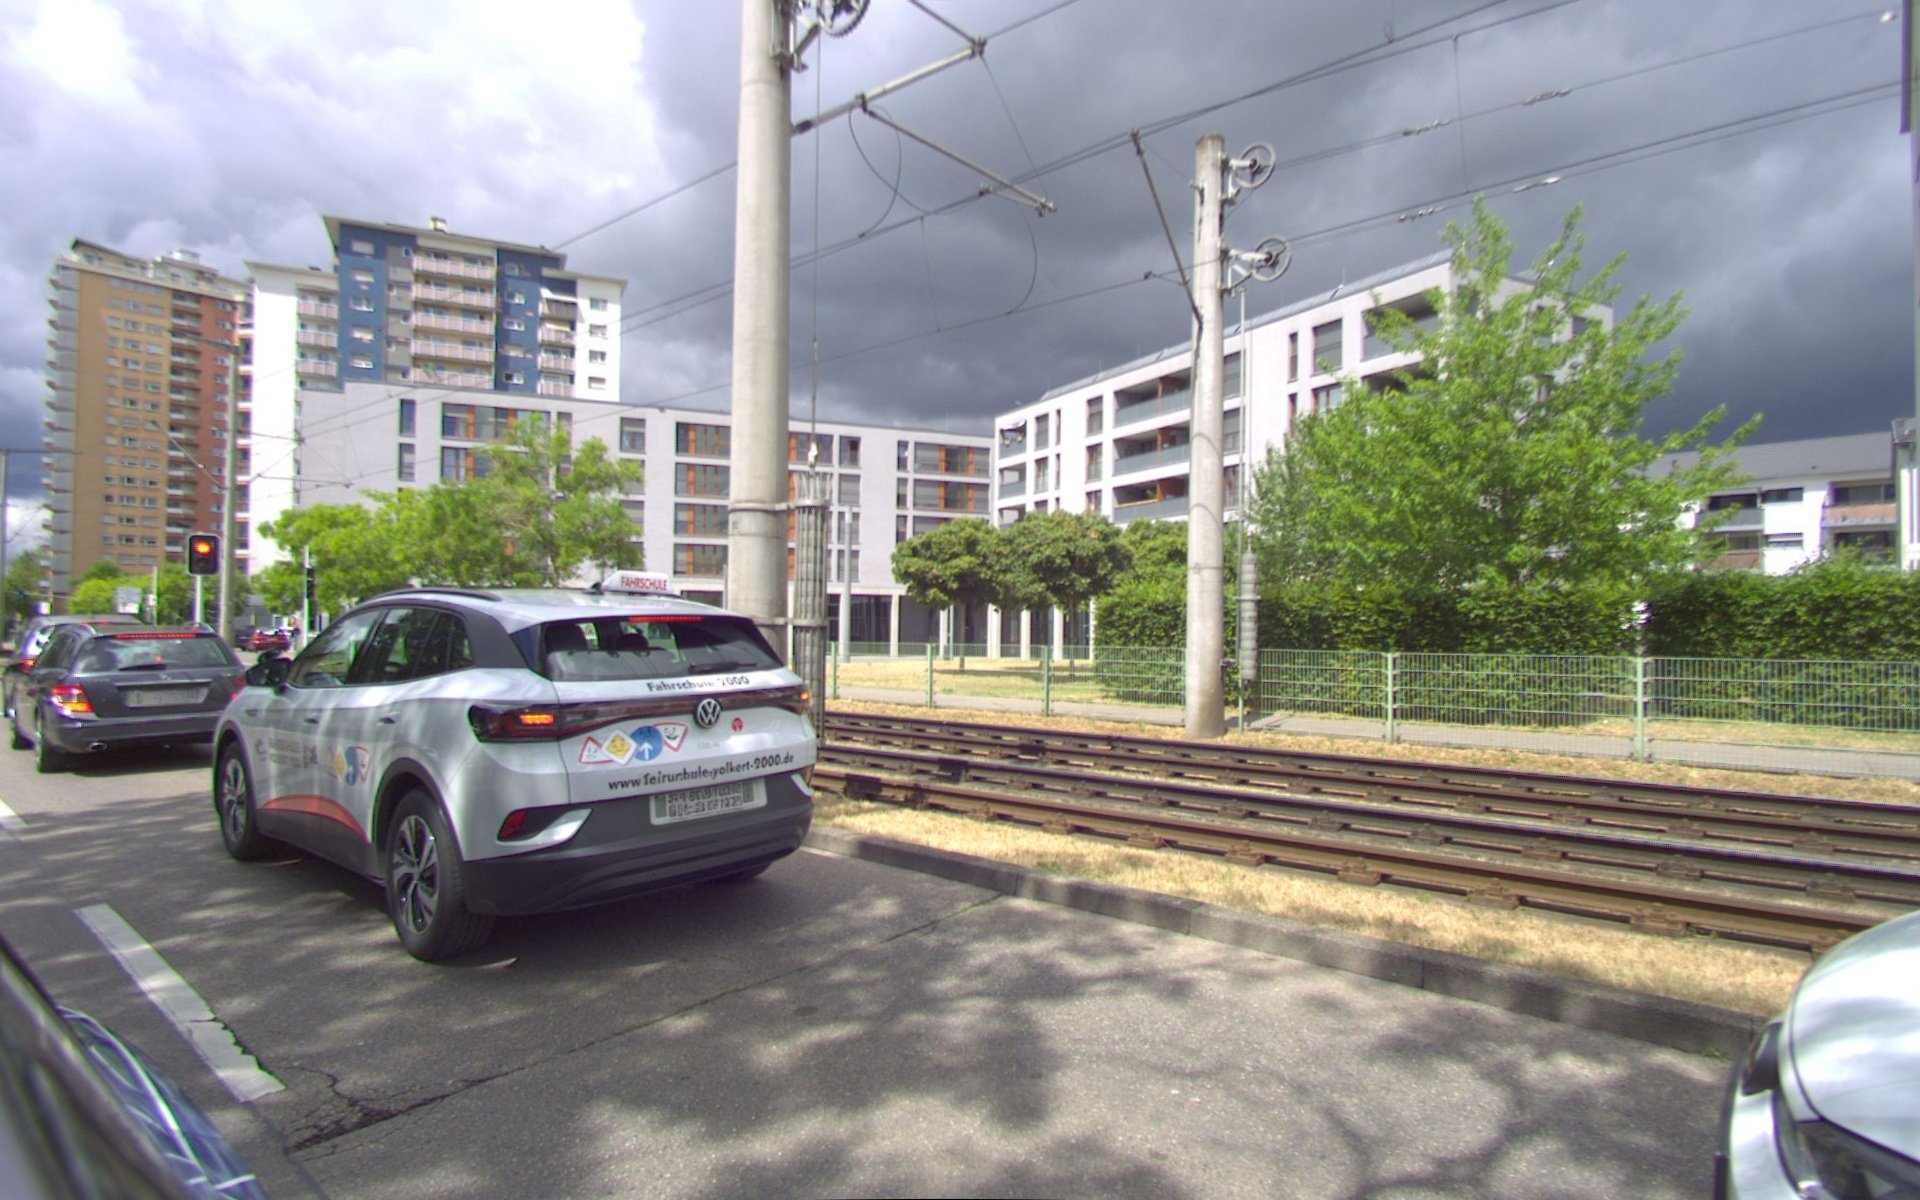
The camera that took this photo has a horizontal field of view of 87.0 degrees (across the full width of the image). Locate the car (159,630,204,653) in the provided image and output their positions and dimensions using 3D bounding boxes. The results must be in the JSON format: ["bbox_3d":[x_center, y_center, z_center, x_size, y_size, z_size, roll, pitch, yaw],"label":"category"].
[{"bbox_3d":[-53.377,2.825,69.355,3.801,1.551,1.758,-1,-1,41],"label":"car"}]

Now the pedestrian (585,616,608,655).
[{"bbox_3d":[-19.369,1.884,53.912,0.906,2.029,0.728,-1,-1,24],"label":"pedestrian"}]

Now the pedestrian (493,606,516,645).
[{"bbox_3d":[-19.603,1.089,43.550,0.538,1.666,0.739,-2,-1,41],"label":"pedestrian"}]

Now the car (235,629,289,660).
[{"bbox_3d":[-39.231,2.449,56.829,1.867,1.635,3.806,0,-1,-45],"label":"car"}]

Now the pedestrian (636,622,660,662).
[{"bbox_3d":[-12.709,1.706,41.201,0.744,1.623,0.535,-1,-1,19],"label":"pedestrian"}]

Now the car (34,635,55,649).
[{"bbox_3d":[-105.073,4.830,116.134,1.756,1.511,3.807,0,-1,-43],"label":"car"}]

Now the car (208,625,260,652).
[{"bbox_3d":[-43.887,2.321,61.149,3.803,1.551,1.868,-1,-1,43],"label":"car"}]

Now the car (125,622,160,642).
[{"bbox_3d":[-71.771,2.772,88.859,3.801,1.672,1.758,-1,-1,41],"label":"car"}]

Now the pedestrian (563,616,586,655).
[{"bbox_3d":[-20.684,1.904,54.259,0.906,2.029,0.728,-1,-1,24],"label":"pedestrian"}]

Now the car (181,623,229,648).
[{"bbox_3d":[-48.653,2.252,65.203,3.801,1.551,1.758,-1,-1,41],"label":"car"}]

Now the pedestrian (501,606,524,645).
[{"bbox_3d":[-19.047,1.078,43.087,0.538,1.666,0.739,-2,-1,41],"label":"pedestrian"}]

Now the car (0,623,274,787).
[{"bbox_3d":[-9.333,0.998,11.283,4.464,1.456,1.791,-1,-2,42],"label":"car"}]

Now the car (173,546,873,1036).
[{"bbox_3d":[-2.701,0.710,5.673,4.430,1.703,1.838,-1,-2,40],"label":"car"}]

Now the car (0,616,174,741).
[{"bbox_3d":[-13.687,1.099,15.641,4.176,1.672,1.837,-1,-2,44],"label":"car"}]

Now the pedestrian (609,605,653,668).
[{"bbox_3d":[-8.654,0.956,26.616,0.937,1.625,0.746,-2,-1,41],"label":"pedestrian"}]

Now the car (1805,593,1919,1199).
[{"bbox_3d":[3.030,0.675,0.528,3.937,1.417,1.729,-1,-2,40],"label":"car"}]

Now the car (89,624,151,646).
[{"bbox_3d":[-75.584,3.131,91.140,1.856,1.940,4.495,-1,-1,1],"label":"car"}]
